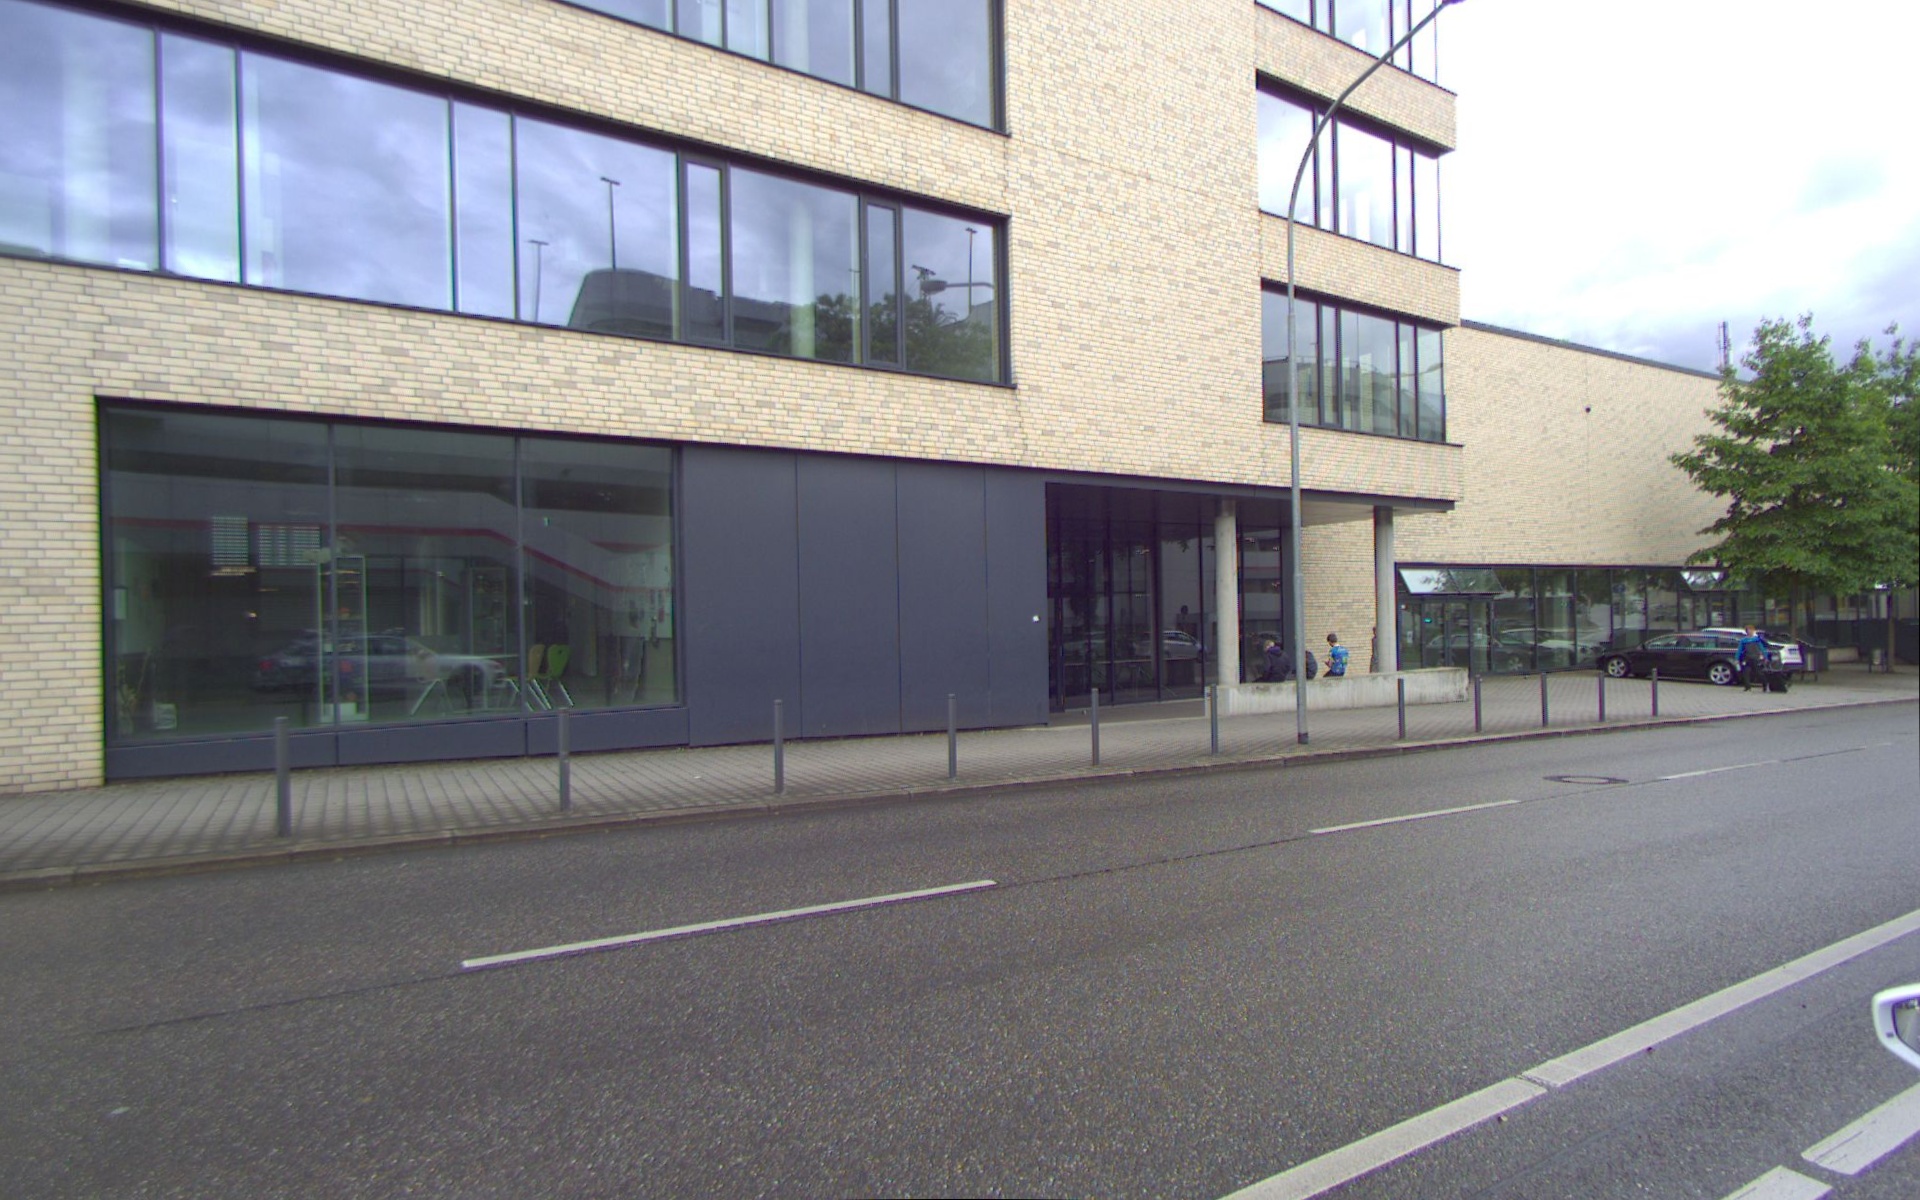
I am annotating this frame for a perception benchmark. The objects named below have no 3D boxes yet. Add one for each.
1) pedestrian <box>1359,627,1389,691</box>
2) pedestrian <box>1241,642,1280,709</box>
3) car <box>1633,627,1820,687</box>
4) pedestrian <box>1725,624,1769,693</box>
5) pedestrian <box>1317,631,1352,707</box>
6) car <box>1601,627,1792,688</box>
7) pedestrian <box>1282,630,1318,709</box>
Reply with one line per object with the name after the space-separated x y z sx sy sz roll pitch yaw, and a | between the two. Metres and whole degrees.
9.929 1.417 24.090 0.523 1.495 0.438 2 0 -35 | pedestrian
5.679 1.422 19.006 0.416 1.231 0.546 2 0 -27 | pedestrian
23.539 1.704 31.006 1.975 1.568 4.159 2 0 -28 | car
20.338 1.500 25.950 0.696 1.737 0.632 2 0 -27 | pedestrian
7.562 1.388 20.273 0.459 1.495 0.446 2 0 -35 | pedestrian
21.663 1.641 29.698 1.981 1.515 4.147 2 0 -36 | car
6.603 1.341 19.517 0.459 1.495 0.446 2 0 -35 | pedestrian
